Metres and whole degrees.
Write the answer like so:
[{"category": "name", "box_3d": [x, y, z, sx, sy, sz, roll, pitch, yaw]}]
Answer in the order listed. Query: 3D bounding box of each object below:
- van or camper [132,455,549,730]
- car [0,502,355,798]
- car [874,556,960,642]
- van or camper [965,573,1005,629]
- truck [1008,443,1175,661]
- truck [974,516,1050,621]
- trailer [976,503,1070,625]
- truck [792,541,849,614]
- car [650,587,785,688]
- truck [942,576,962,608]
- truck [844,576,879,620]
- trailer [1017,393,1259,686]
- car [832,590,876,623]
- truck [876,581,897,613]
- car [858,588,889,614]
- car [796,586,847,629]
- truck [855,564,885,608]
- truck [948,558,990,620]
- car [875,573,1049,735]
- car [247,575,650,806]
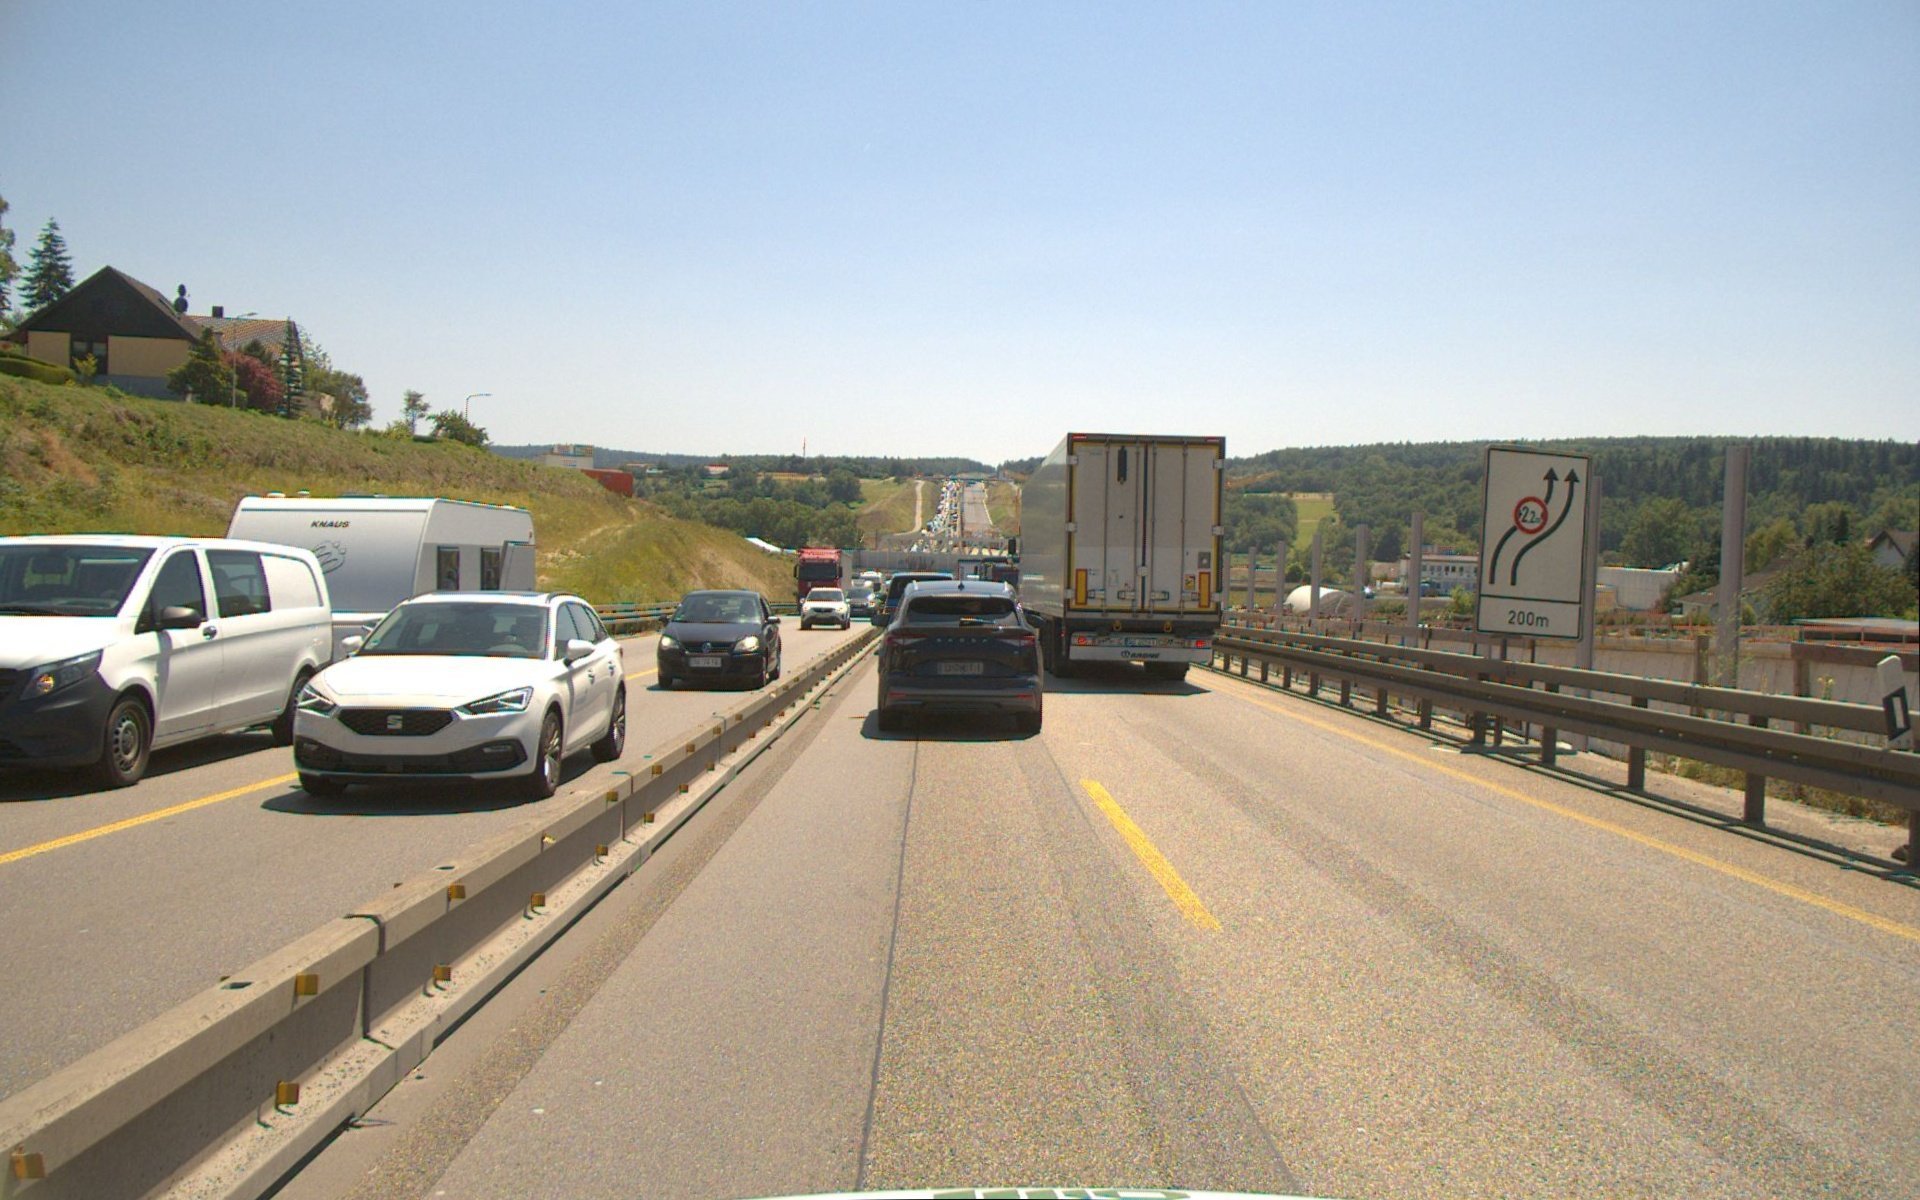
[{"category": "van or camper", "box_3d": [-7.175, -0.100, 20.491, 2.309, 2.723, 7.856, 1, 0, -1]}, {"category": "car", "box_3d": [-7.009, 0.314, 13.864, 1.953, 2.005, 5.342, 1, 0, -1]}, {"category": "car", "box_3d": [-1.046, 0.011, 40.438, 1.953, 1.959, 4.506, 1, -1, -1]}, {"category": "van or camper", "box_3d": [1.527, 0.120, 101.515, 2.339, 3.338, 6.469, 1, -1, 1]}, {"category": "truck", "box_3d": [2.914, -1.063, 39.268, 3.116, 4.591, 8.164, 1, 0, -1]}, {"category": "truck", "box_3d": [2.367, -1.330, 77.601, 3.116, 4.592, 8.163, 1, -1, -1]}, {"category": "trailer", "box_3d": [2.490, -1.264, 70.409, 3.116, 4.592, 14.962, 1, -1, -1]}, {"category": "truck", "box_3d": [-8.693, -1.257, 104.284, 2.794, 4.212, 11.913, 1, -1, -1]}, {"category": "car", "box_3d": [-3.710, 0.538, 25.838, 1.632, 1.438, 3.816, 1, 0, -2]}, {"category": "truck", "box_3d": [-1.138, -1.050, 233.039, 2.586, 4.267, 9.281, 1, -1, -1]}, {"category": "truck", "box_3d": [-9.209, -0.125, 155.427, 2.794, 3.849, 11.913, 1, -1, -1]}, {"category": "trailer", "box_3d": [3.048, -1.024, 32.787, 3.116, 4.591, 13.106, 1, 1, -1]}, {"category": "car", "box_3d": [-5.204, 0.319, 81.617, 1.953, 1.557, 3.999, 1, 0, -2]}, {"category": "truck", "box_3d": [-10.542, -0.335, 237.961, 2.794, 4.414, 11.913, 1, -1, -1]}, {"category": "car", "box_3d": [-5.399, 0.057, 103.785, 1.824, 1.502, 3.999, 2, 0, -2]}, {"category": "car", "box_3d": [-5.137, 0.275, 61.817, 1.756, 1.545, 3.996, 0, 0, -3]}, {"category": "truck", "box_3d": [-9.663, -1.457, 178.642, 2.794, 4.414, 11.913, 1, -1, -1]}, {"category": "truck", "box_3d": [0.630, -0.720, 129.452, 2.794, 4.543, 11.913, 1, -1, -1]}, {"category": "car", "box_3d": [0.007, 0.569, 18.993, 1.765, 1.635, 3.999, 1, 0, 0]}, {"category": "car", "box_3d": [-3.810, 0.588, 13.240, 1.874, 1.506, 4.635, 1, 0, -2]}]
